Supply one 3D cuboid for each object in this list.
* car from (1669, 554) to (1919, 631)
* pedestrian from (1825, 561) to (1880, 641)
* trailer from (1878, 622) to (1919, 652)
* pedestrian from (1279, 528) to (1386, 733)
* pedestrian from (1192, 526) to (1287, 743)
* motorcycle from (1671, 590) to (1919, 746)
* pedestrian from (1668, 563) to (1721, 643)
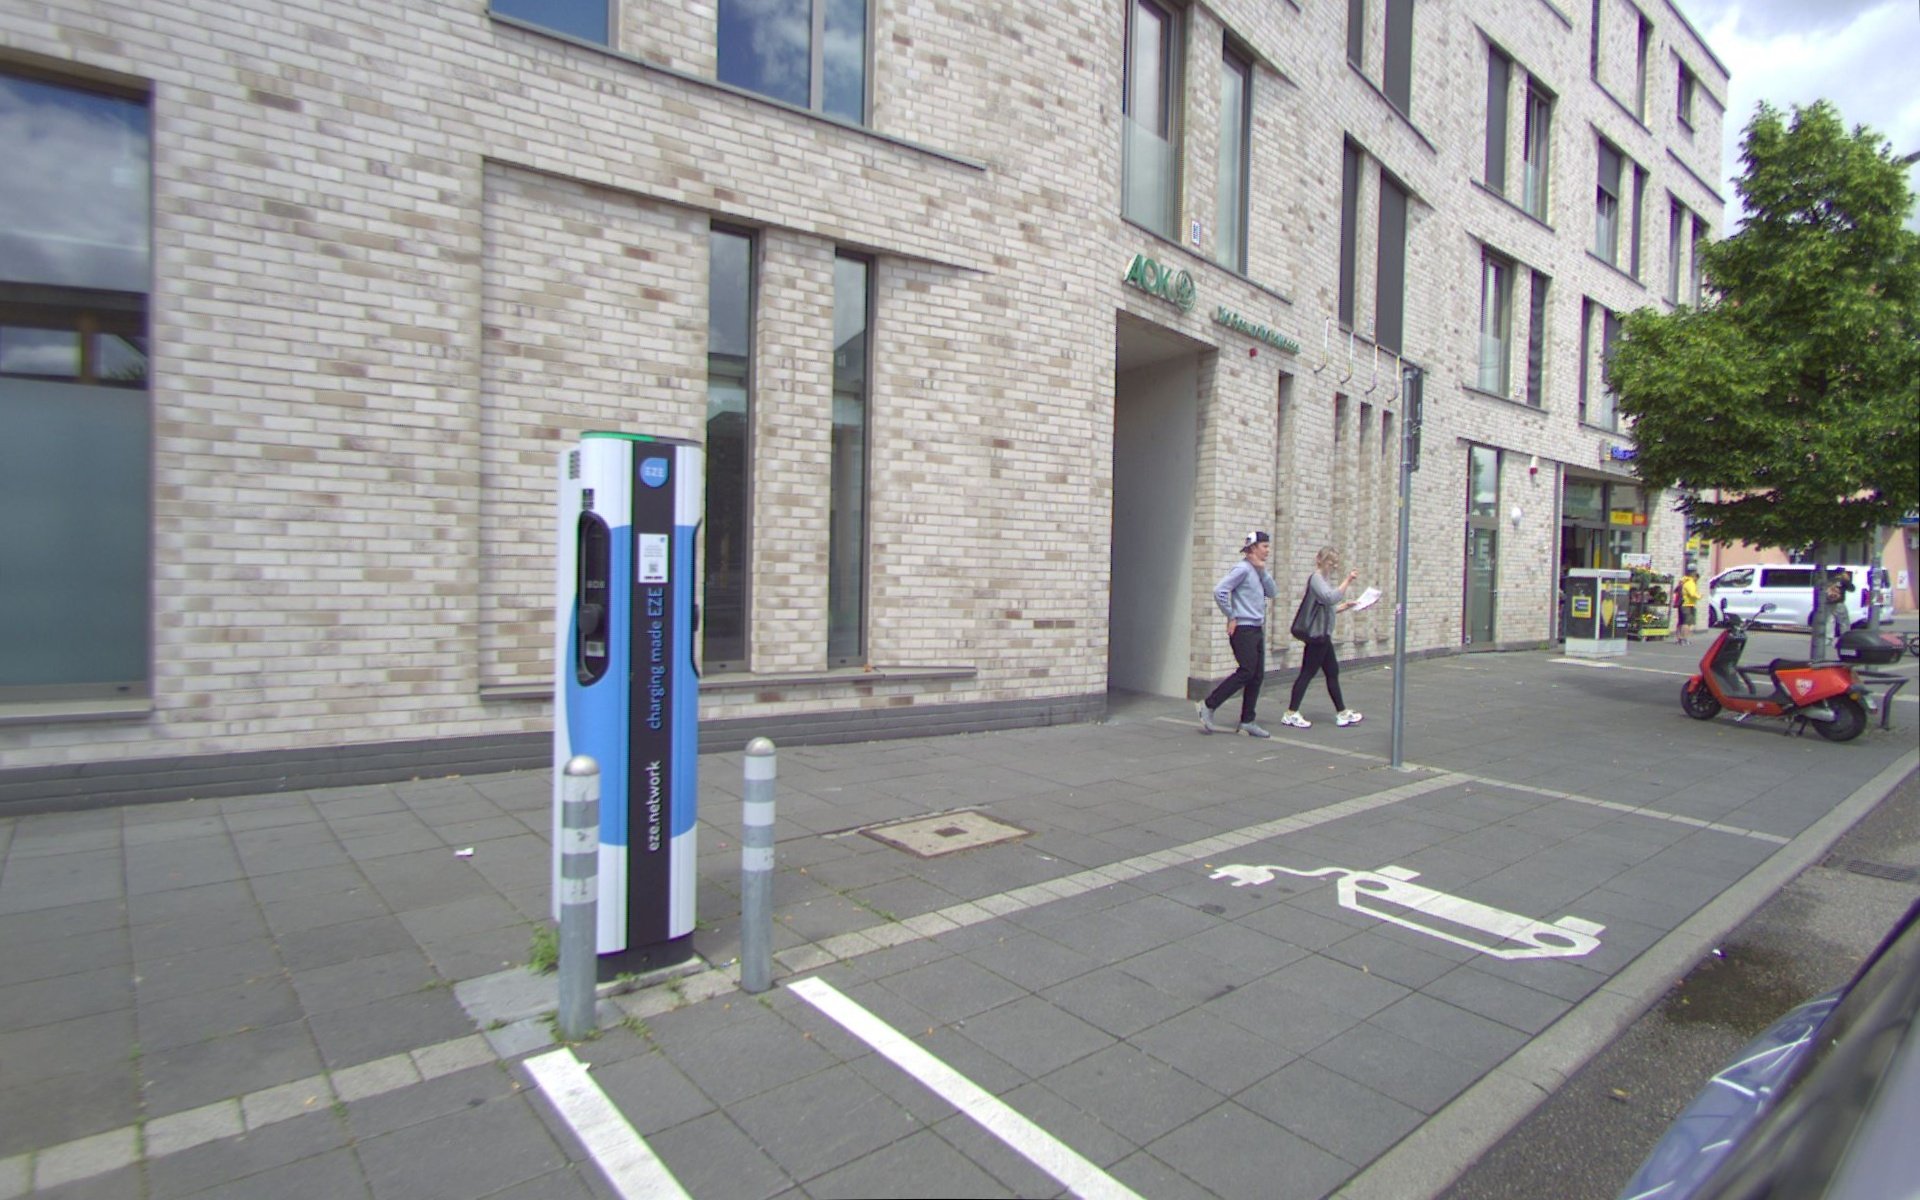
[{"bbox_3d":[24.361,-0.221,29.802,1.960,2.039,5.398,-1,0,-31],"label":"car"},{"bbox_3d":[20.397,0.011,23.127,0.998,1.763,0.660,0,2,-35],"label":"pedestrian"},{"bbox_3d":[19.162,0.749,20.432,0.795,0.535,0.723,-1,2,-30],"label":"trailer"},{"bbox_3d":[3.443,0.242,9.343,0.730,1.788,0.749,2,3,34],"label":"pedestrian"},{"bbox_3d":[2.417,0.262,8.736,0.728,1.788,0.620,1,3,19],"label":"pedestrian"},{"bbox_3d":[8.427,0.599,10.132,0.658,1.281,2.062,0,4,-22],"label":"motorcycle"},{"bbox_3d":[16.080,0.045,22.161,0.620,1.713,0.660,1,2,0],"label":"pedestrian"}]
